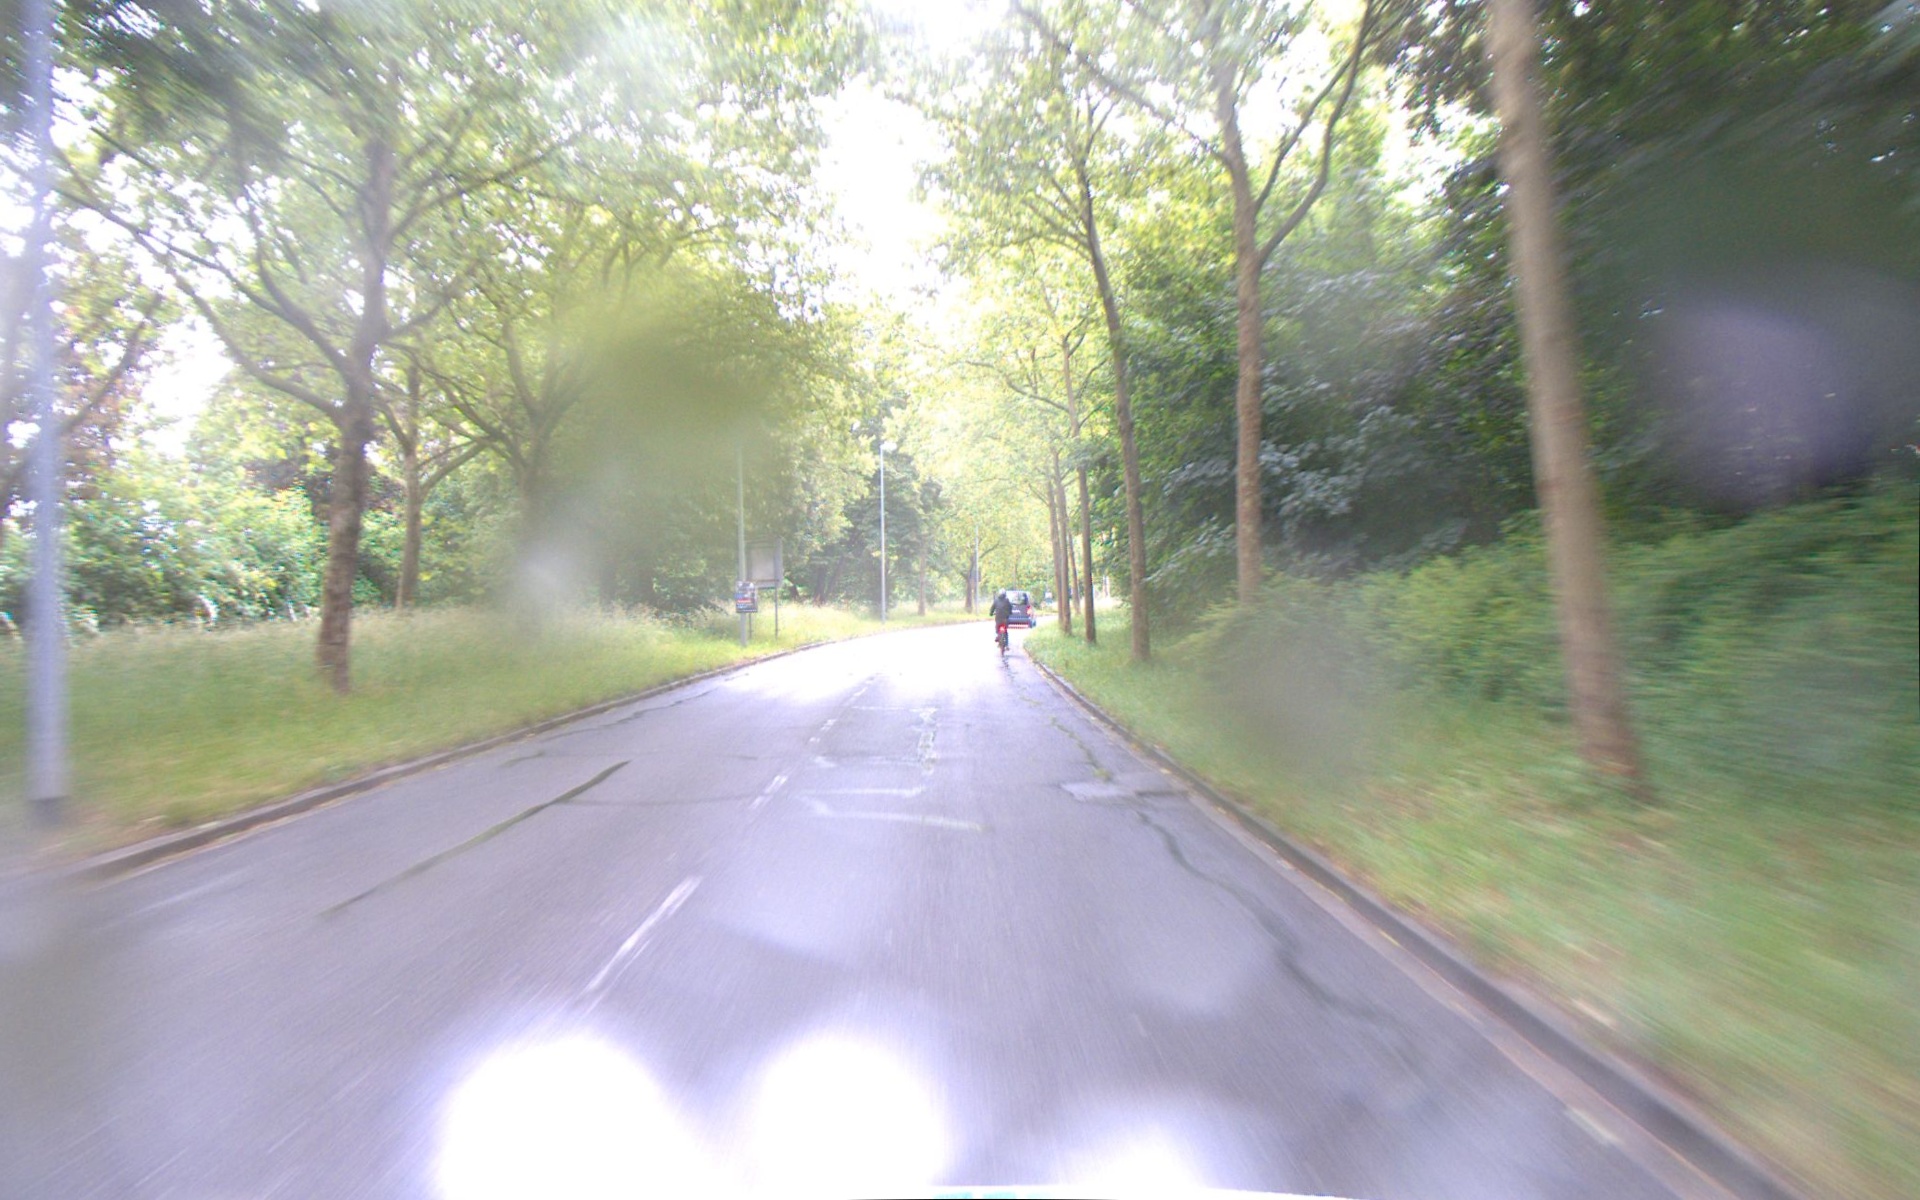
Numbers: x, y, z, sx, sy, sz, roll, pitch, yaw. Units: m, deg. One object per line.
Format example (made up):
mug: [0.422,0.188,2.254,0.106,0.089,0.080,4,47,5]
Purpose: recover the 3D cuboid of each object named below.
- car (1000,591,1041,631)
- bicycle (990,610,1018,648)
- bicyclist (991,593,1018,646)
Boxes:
car: [3.100,0.535,84.299,1.944,1.959,4.002,0,0,3]
bicycle: [1.212,0.784,45.073,0.714,0.991,2.174,1,0,3]
bicyclist: [1.211,0.526,44.895,0.714,1.435,0.973,1,0,2]
